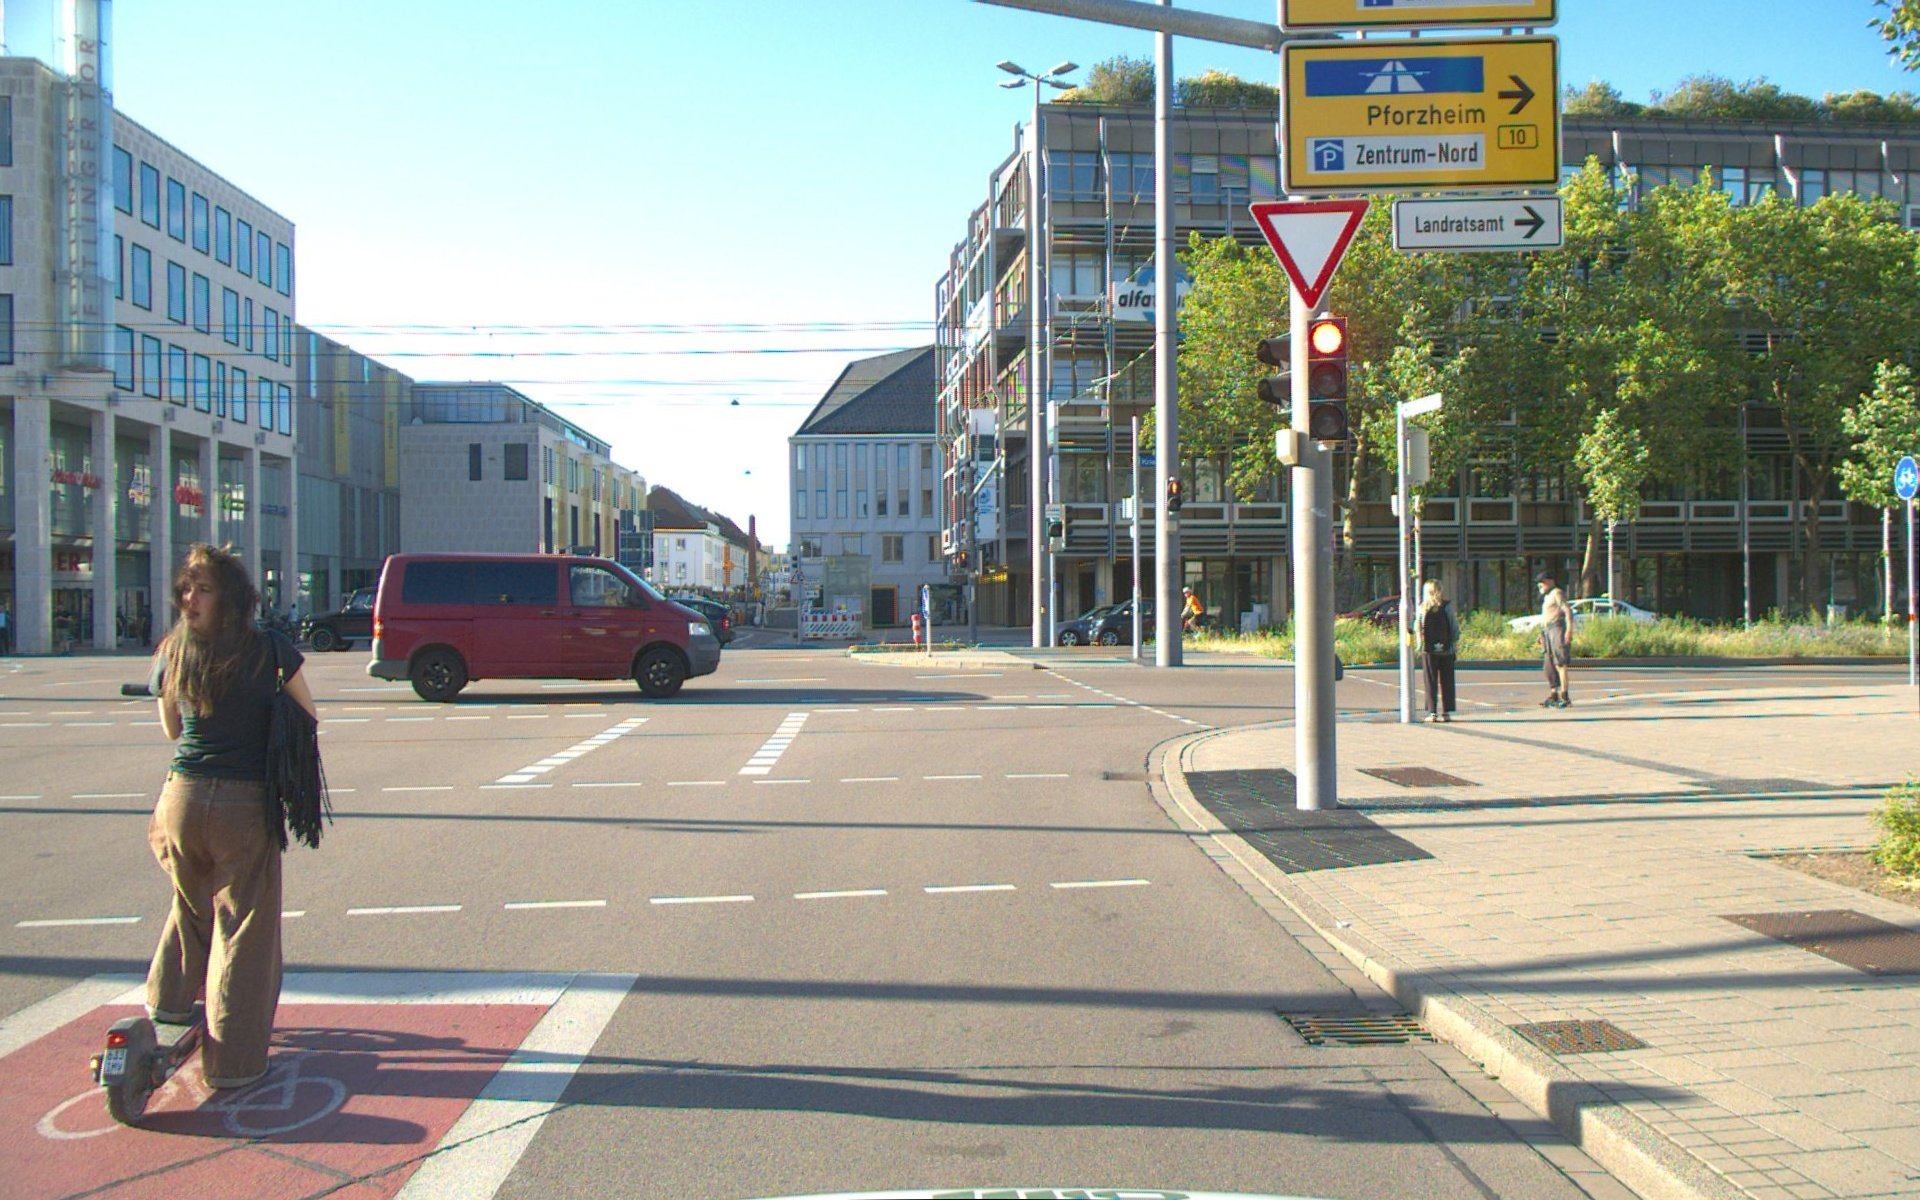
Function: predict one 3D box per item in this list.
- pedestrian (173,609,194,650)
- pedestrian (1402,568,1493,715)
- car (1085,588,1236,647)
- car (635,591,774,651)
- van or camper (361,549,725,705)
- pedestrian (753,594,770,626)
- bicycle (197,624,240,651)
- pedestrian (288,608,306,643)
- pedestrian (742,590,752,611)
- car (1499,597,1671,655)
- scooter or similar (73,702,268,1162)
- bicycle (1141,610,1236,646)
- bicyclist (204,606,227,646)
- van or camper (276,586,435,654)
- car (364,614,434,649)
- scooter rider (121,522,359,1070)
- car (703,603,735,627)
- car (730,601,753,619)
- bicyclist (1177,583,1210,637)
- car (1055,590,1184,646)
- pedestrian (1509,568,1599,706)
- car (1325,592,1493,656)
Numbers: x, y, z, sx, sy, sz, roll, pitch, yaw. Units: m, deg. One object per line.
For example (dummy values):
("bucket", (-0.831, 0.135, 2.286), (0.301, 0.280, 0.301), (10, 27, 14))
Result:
("pedestrian", (-32.607, 1.238, 69.495), (0.580, 1.674, 0.629), (-1, 0, -1))
("pedestrian", (5.581, 0.462, 18.961), (0.750, 1.642, 0.874), (-1, 0, -2))
("car", (6.100, 0.523, 50.638), (4.317, 1.713, 1.824), (-1, 0, -4))
("car", (-7.639, 0.614, 49.699), (3.907, 1.713, 1.761), (-1, 0, -2))
("van or camper", (-5.786, 0.334, 23.295), (4.745, 2.049, 2.000), (-1, 0, -14))
("pedestrian", (-11.333, 0.569, 94.308), (0.881, 1.814, 0.808), (0, 0, -1))
("bicycle", (-27.999, 1.407, 62.479), (0.622, 0.919, 2.218), (-1, 0, 0))
("pedestrian", (-33.941, 1.312, 84.711), (0.462, 1.759, 0.692), (0, -1, 37))
("pedestrian", (-21.151, 0.049, 164.364), (0.892, 1.999, 0.822), (1, -1, -1))
("car", (19.604, 0.801, 51.999), (4.749, 1.713, 1.824), (-1, 0, -4))
("scooter or similar", (-2.221, 0.884, 4.708), (0.301, 1.127, 0.836), (-1, 0, -12))
("bicycle", (6.517, 0.798, 47.205), (2.517, 0.992, 1.047), (-1, 0, -4))
("bicyclist", (-28.012, 0.971, 62.236), (0.613, 1.473, 0.589), (-1, 0, 0))
("van or camper", (-19.037, 0.604, 52.243), (4.329, 2.049, 1.993), (-1, 0, -5))
("car", (-23.485, 1.298, 69.394), (1.642, 1.381, 4.019), (-1, 0, -2))
("scooter rider", (-2.143, 0.555, 4.967), (0.542, 1.556, 0.448), (-1, 0, -9))
("car", (-15.699, 0.962, 107.826), (1.625, 1.484, 3.541), (-1, 0, -1))
("car", (-19.196, 0.854, 145.431), (1.625, 1.484, 3.541), (-1, 0, -1))
("bicyclist", (6.670, 0.279, 47.225), (0.806, 1.500, 0.652), (-1, 0, -5))
("car", (5.129, 0.564, 53.555), (3.908, 1.713, 1.824), (-1, 0, -4))
("pedestrian", (7.649, 0.470, 21.325), (0.854, 1.736, 0.768), (-1, 0, -3))
("car", (12.648, 0.646, 46.660), (4.212, 1.713, 1.820), (-1, 0, -11))
